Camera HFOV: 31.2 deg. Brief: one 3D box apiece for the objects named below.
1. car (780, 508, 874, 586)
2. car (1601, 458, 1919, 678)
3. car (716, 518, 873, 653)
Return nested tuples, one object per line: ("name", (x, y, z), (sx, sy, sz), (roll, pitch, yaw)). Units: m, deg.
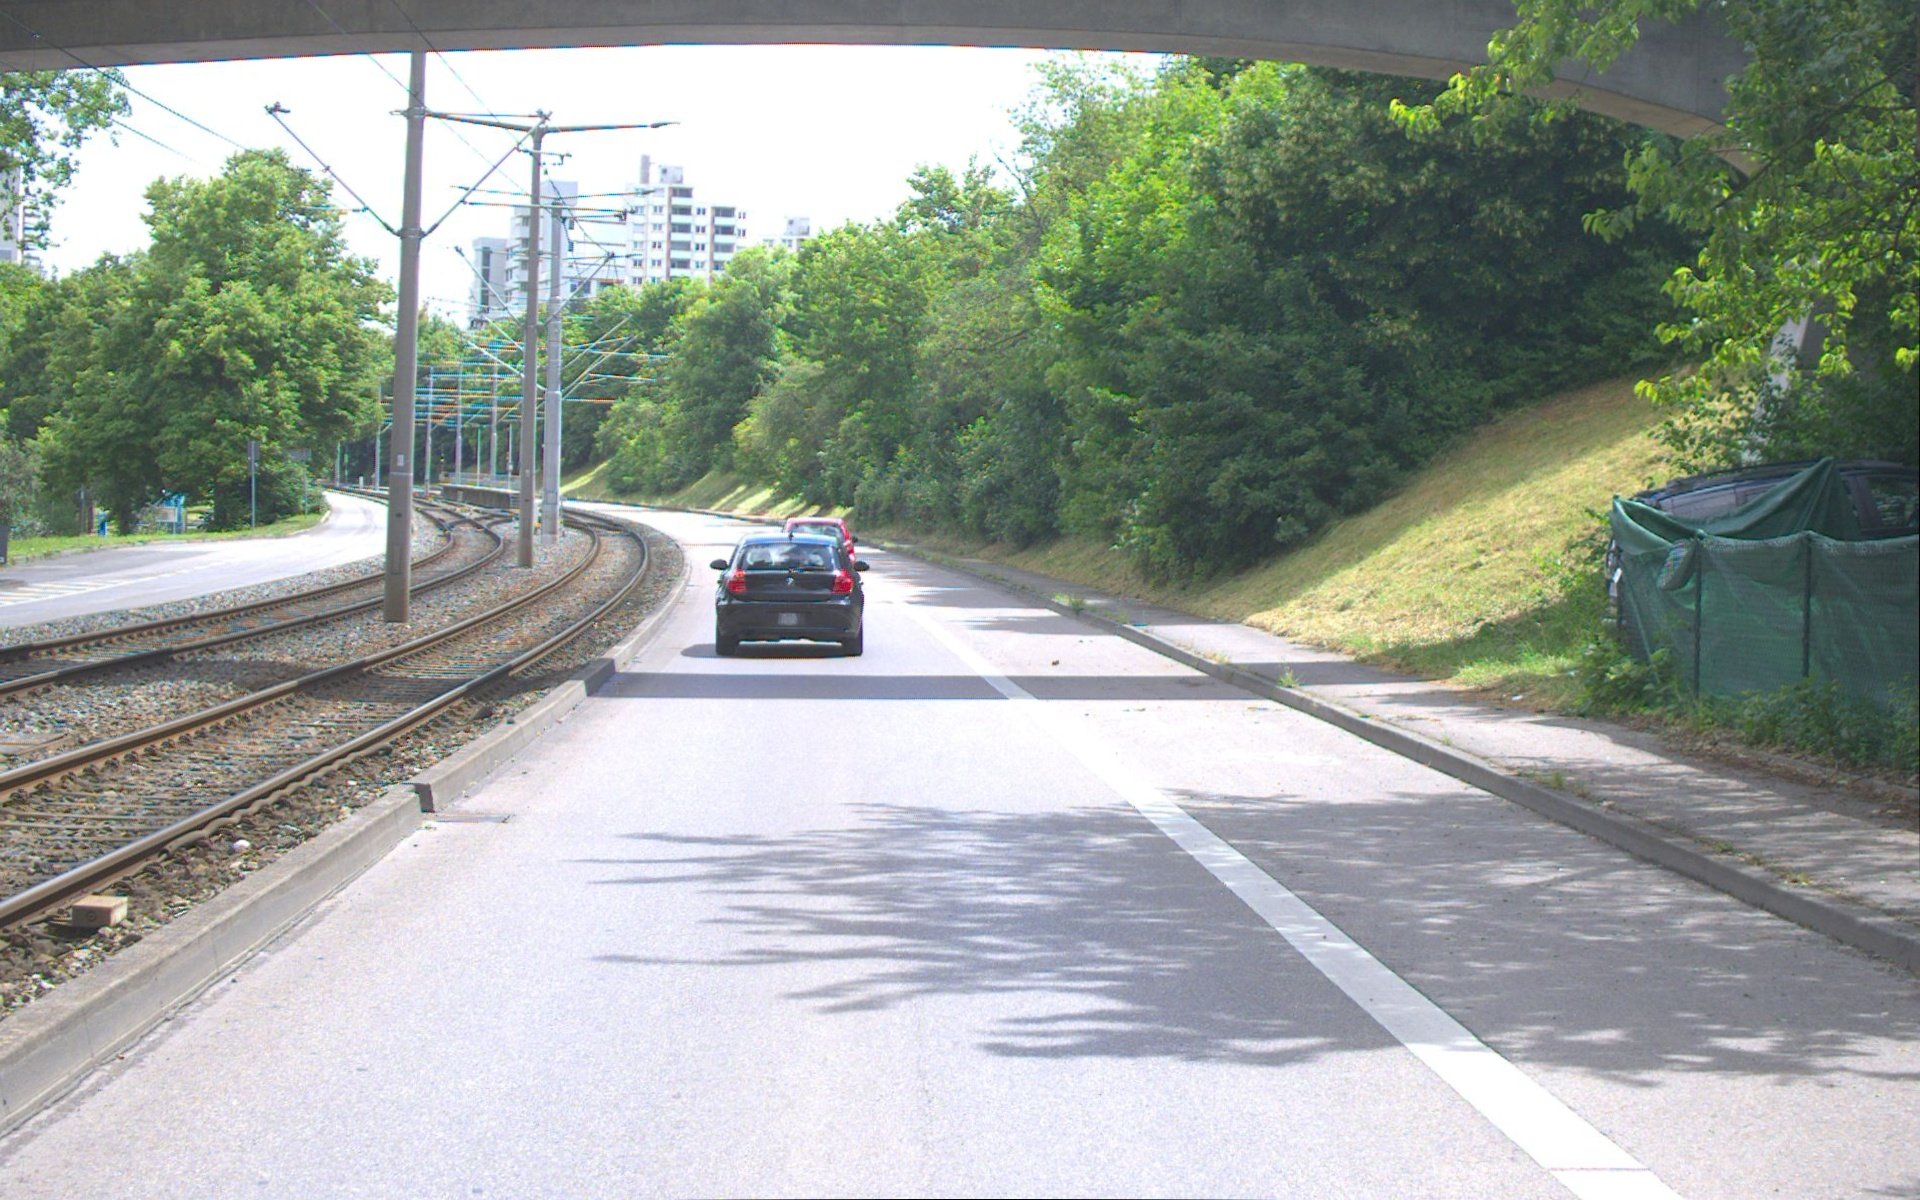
("car", (-2.676, -1.066, 69.862), (1.624, 1.438, 3.421), (3, 0, 2))
("car", (7.844, -0.312, 28.766), (4.524, 1.666, 2.000), (-3, -1, 1))
("car", (-1.970, -0.200, 41.058), (1.708, 1.455, 3.961), (3, 1, -3))
